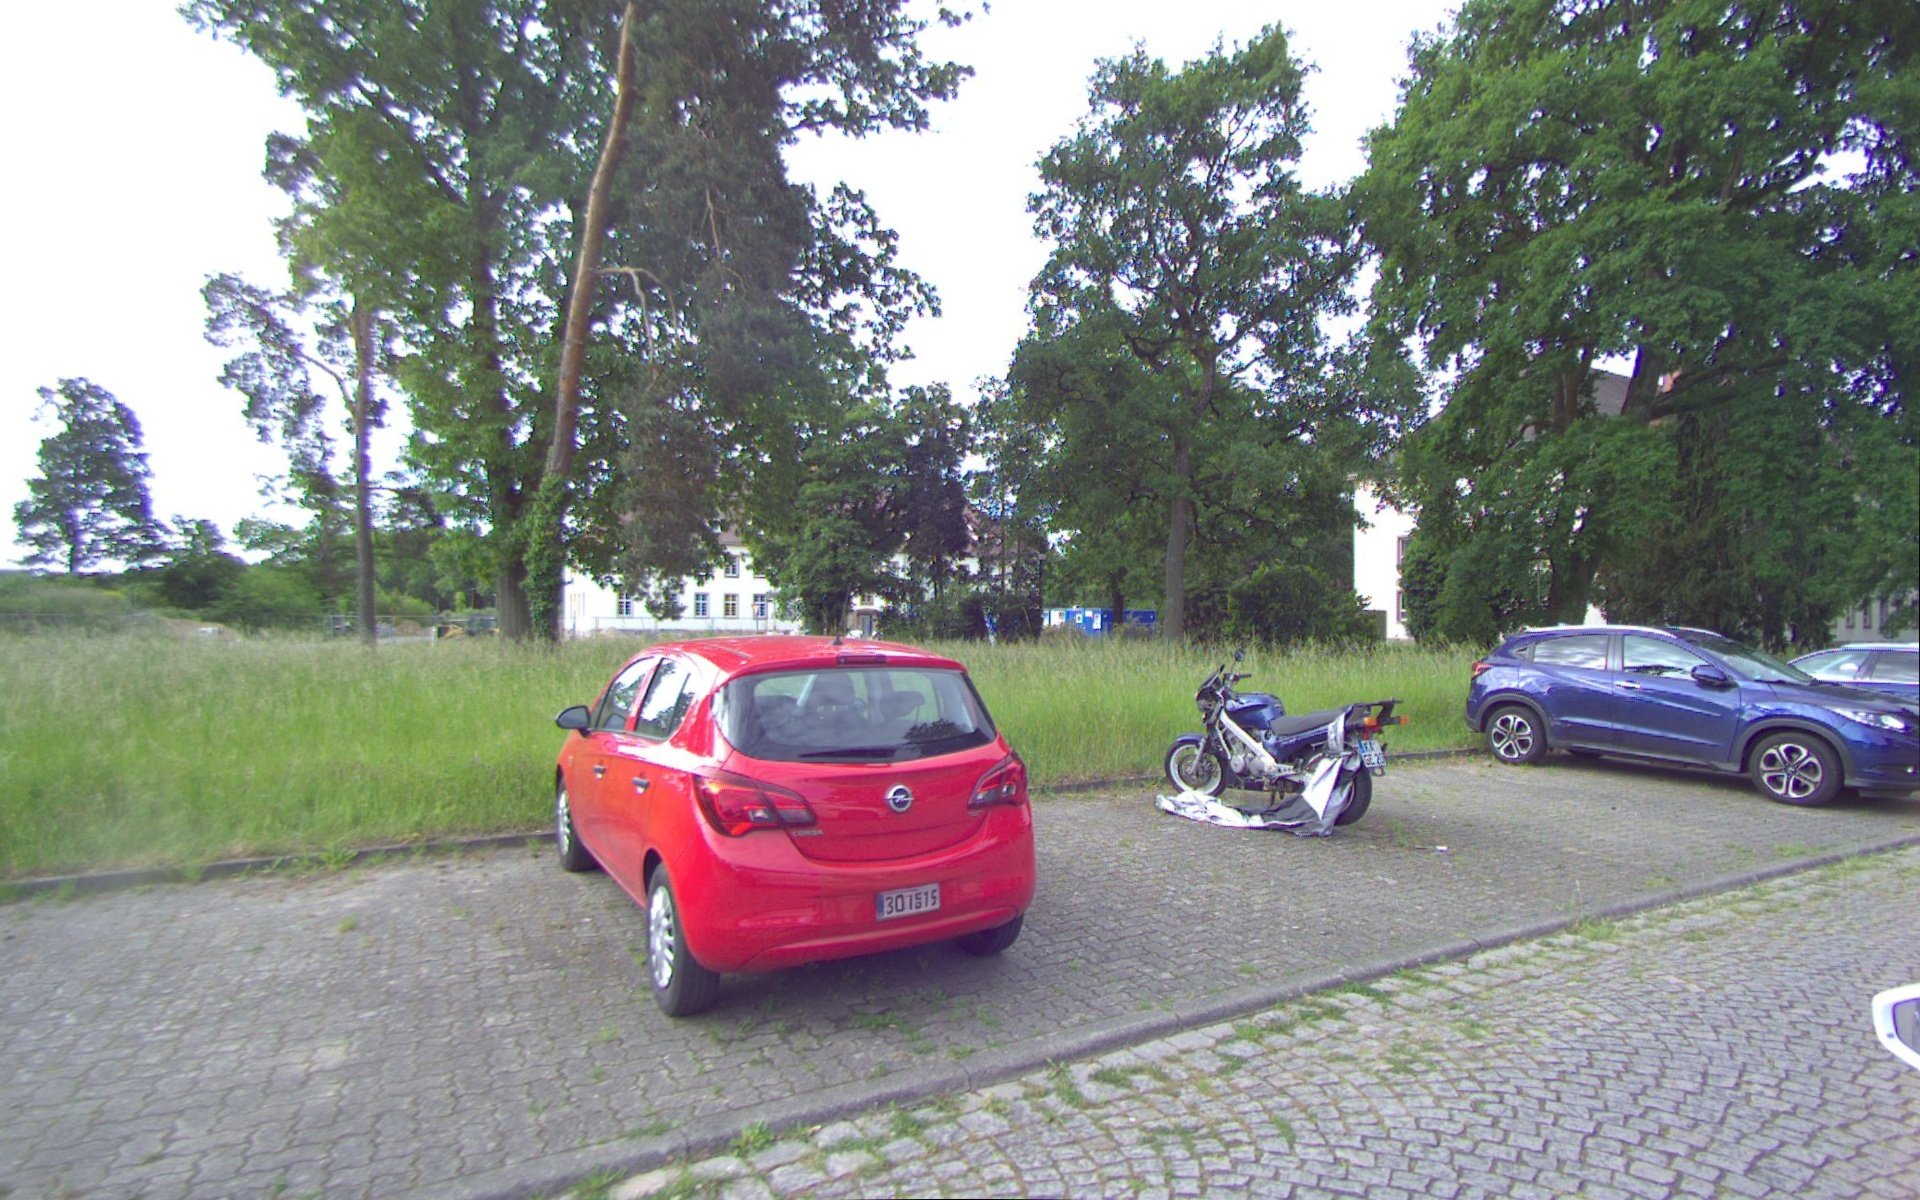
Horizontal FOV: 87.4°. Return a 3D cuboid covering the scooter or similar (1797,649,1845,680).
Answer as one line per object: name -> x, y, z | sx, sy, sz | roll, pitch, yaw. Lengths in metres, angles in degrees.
scooter or similar -> 30.606, 2.292, 35.715 | 0.445, 1.052, 1.352 | 1, -1, -8

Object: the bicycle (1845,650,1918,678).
bicycle -> 34.503, 2.381, 37.628 | 0.622, 1.002, 1.942 | 2, -2, -39

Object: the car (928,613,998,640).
car -> 0.256, 2.101, 79.168 | 5.163, 2.040, 1.986 | 2, -2, -27

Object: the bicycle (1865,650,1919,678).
bicycle -> 35.498, 2.405, 37.883 | 0.622, 1.002, 1.942 | 2, -2, -39

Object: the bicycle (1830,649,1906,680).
bicycle -> 32.167, 2.272, 35.611 | 1.933, 1.002, 0.624 | -1, -2, 39

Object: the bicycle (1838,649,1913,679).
bicycle -> 33.464, 2.333, 36.754 | 1.931, 1.002, 0.625 | 0, -2, 35

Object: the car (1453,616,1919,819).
car -> 7.699, 1.017, 10.555 | 1.865, 1.598, 4.207 | 1, 0, -30

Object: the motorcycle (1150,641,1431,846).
motorcycle -> 2.543, 1.037, 8.082 | 0.710, 1.309, 2.265 | 1, 0, -28

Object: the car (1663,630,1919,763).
car -> 11.797, 1.181, 12.764 | 1.950, 1.480, 4.286 | 1, 0, -28

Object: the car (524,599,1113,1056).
car -> -1.157, 0.821, 5.640 | 1.883, 1.545, 4.035 | 1, -2, -31
